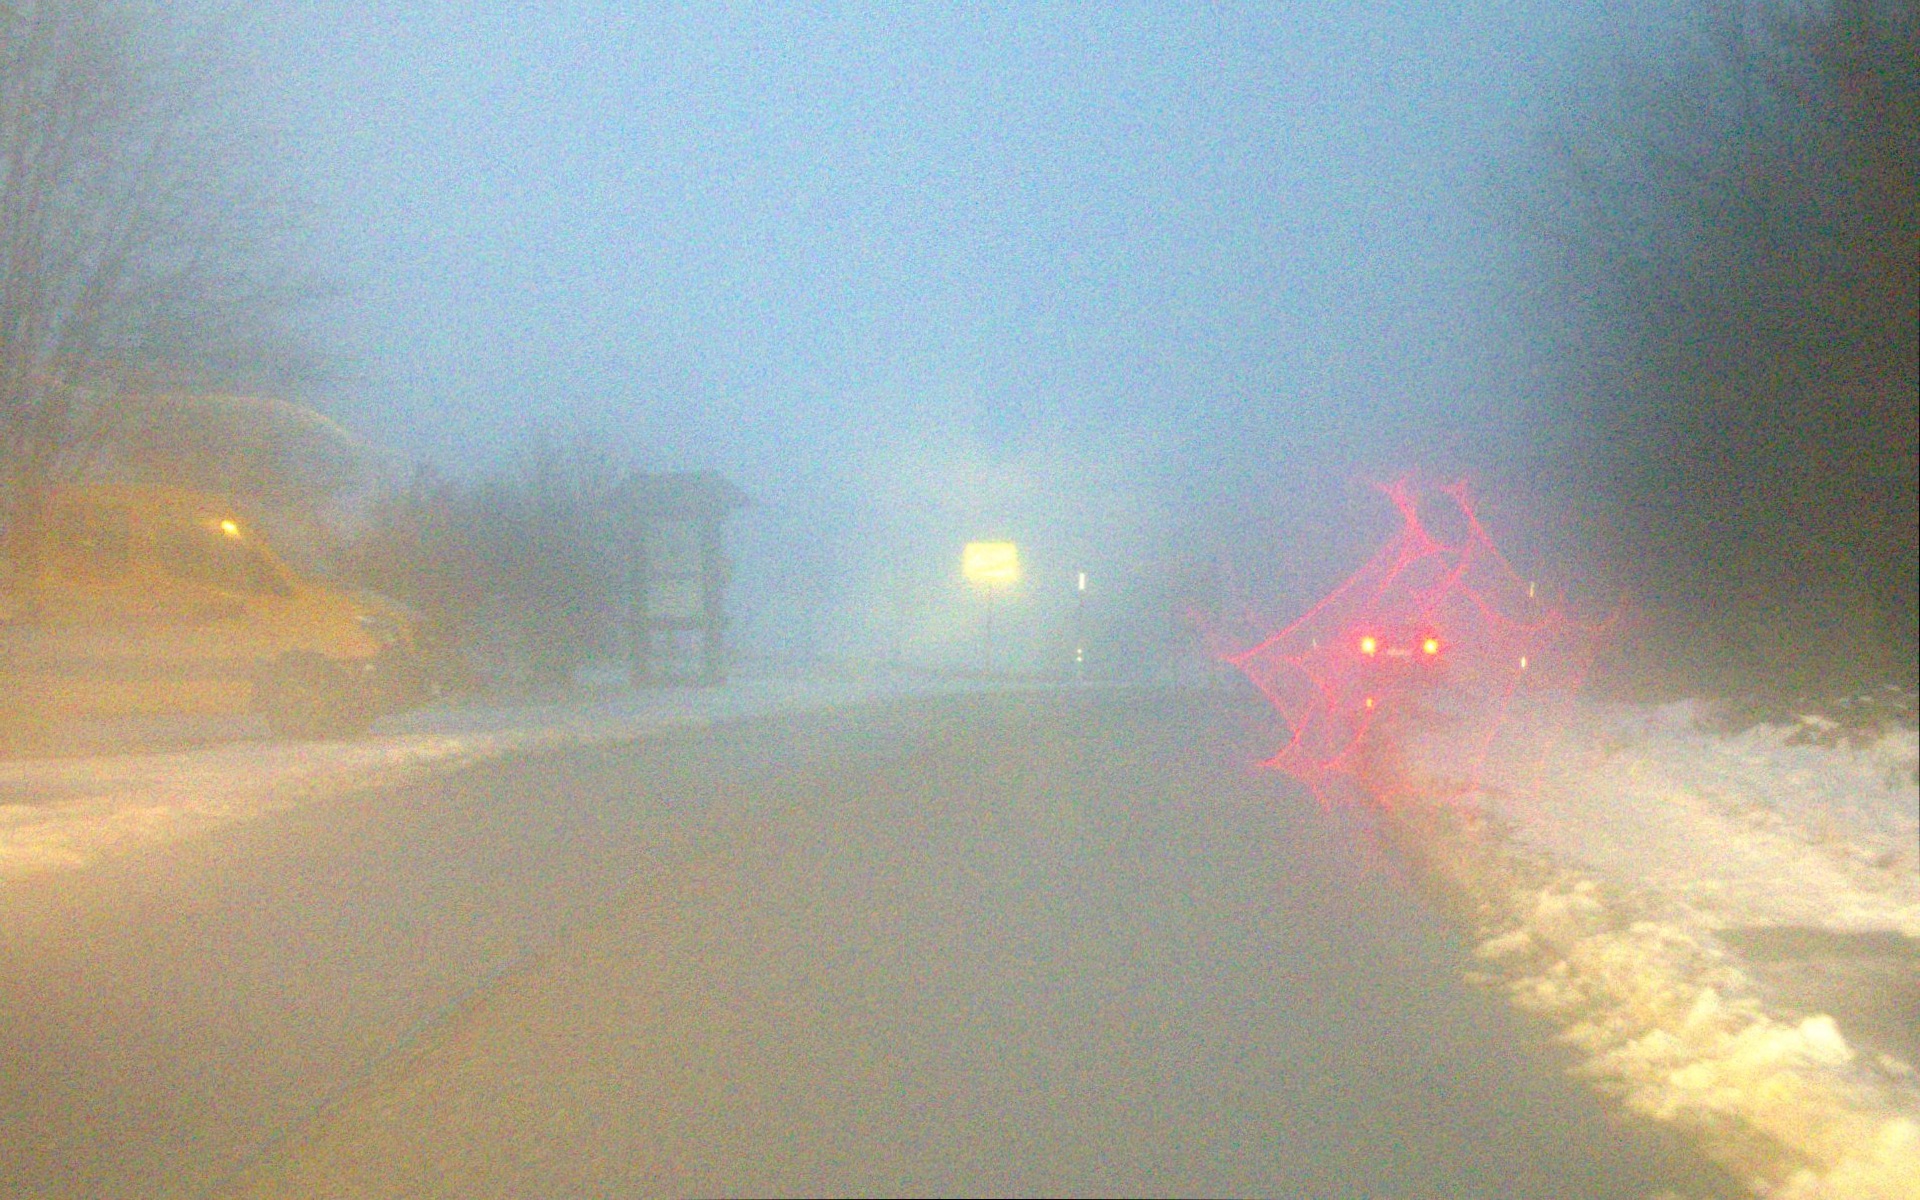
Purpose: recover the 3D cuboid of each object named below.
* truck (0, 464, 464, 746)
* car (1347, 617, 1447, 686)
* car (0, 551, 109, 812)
[{"bbox_3d":[-7.176,0.050,30.382,5.261,2.295,2.000,-2,1,-2],"label":"truck"},{"bbox_3d":[9.286,1.105,73.283,1.994,1.415,3.999,1,-1,6],"label":"car"},{"bbox_3d":[-7.817,0.522,20.587,4.887,1.480,2.123,-2,1,-1],"label":"car"}]
